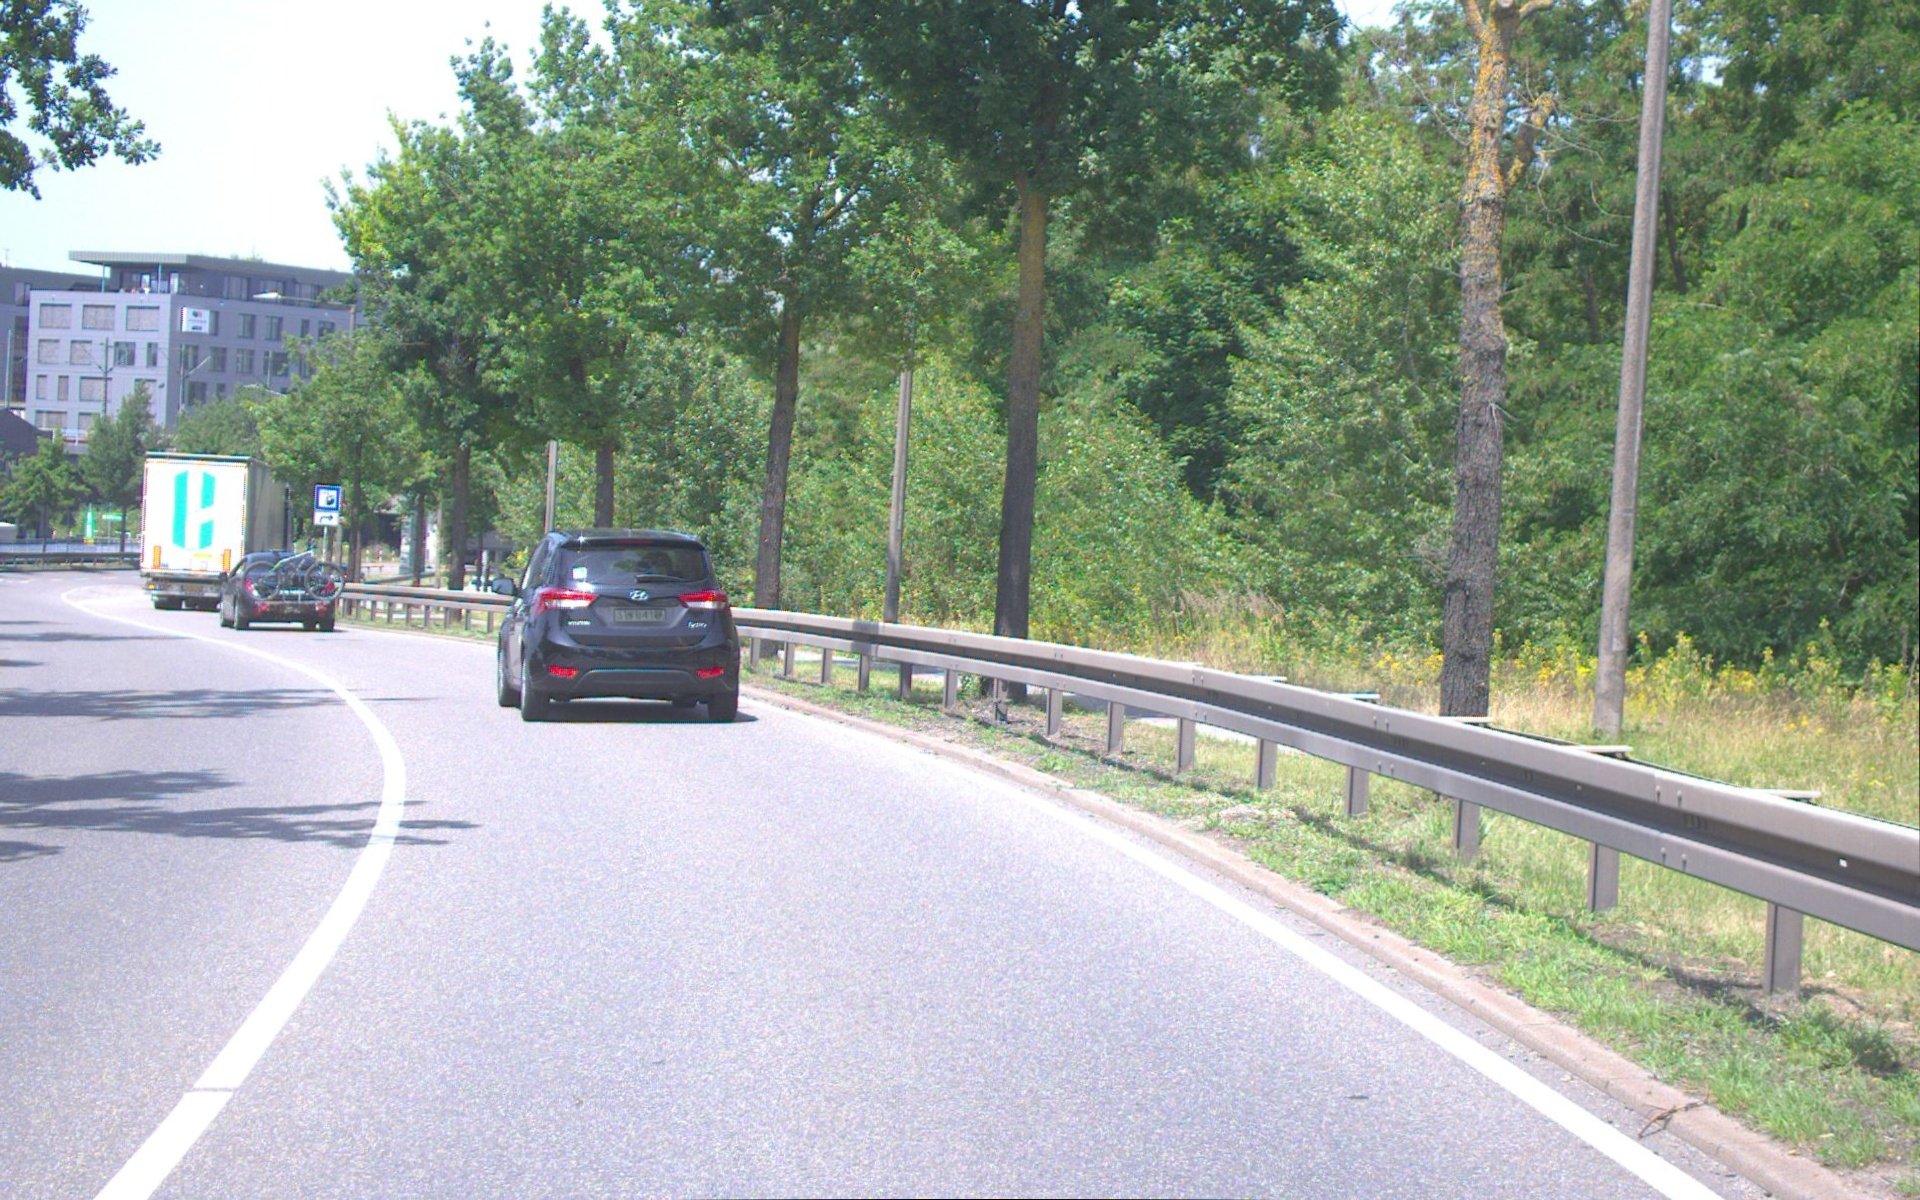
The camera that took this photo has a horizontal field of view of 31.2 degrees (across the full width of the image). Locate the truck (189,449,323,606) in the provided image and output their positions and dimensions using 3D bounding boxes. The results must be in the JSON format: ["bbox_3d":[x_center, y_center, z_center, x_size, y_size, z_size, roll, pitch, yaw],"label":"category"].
[{"bbox_3d":[-20.786,-2.182,101.843,3.075,4.353,6.080,3,2,-6],"label":"truck"}]

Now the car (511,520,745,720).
[{"bbox_3d":[-2.911,0.120,29.498,1.766,1.593,4.079,0,1,-9],"label":"car"}]

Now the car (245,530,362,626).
[{"bbox_3d":[-11.969,-0.415,62.526,1.956,1.628,4.281,2,0,-12],"label":"car"}]

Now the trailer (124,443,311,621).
[{"bbox_3d":[-20.057,-1.941,93.795,3.077,4.353,14.778,3,2,-6],"label":"trailer"}]
